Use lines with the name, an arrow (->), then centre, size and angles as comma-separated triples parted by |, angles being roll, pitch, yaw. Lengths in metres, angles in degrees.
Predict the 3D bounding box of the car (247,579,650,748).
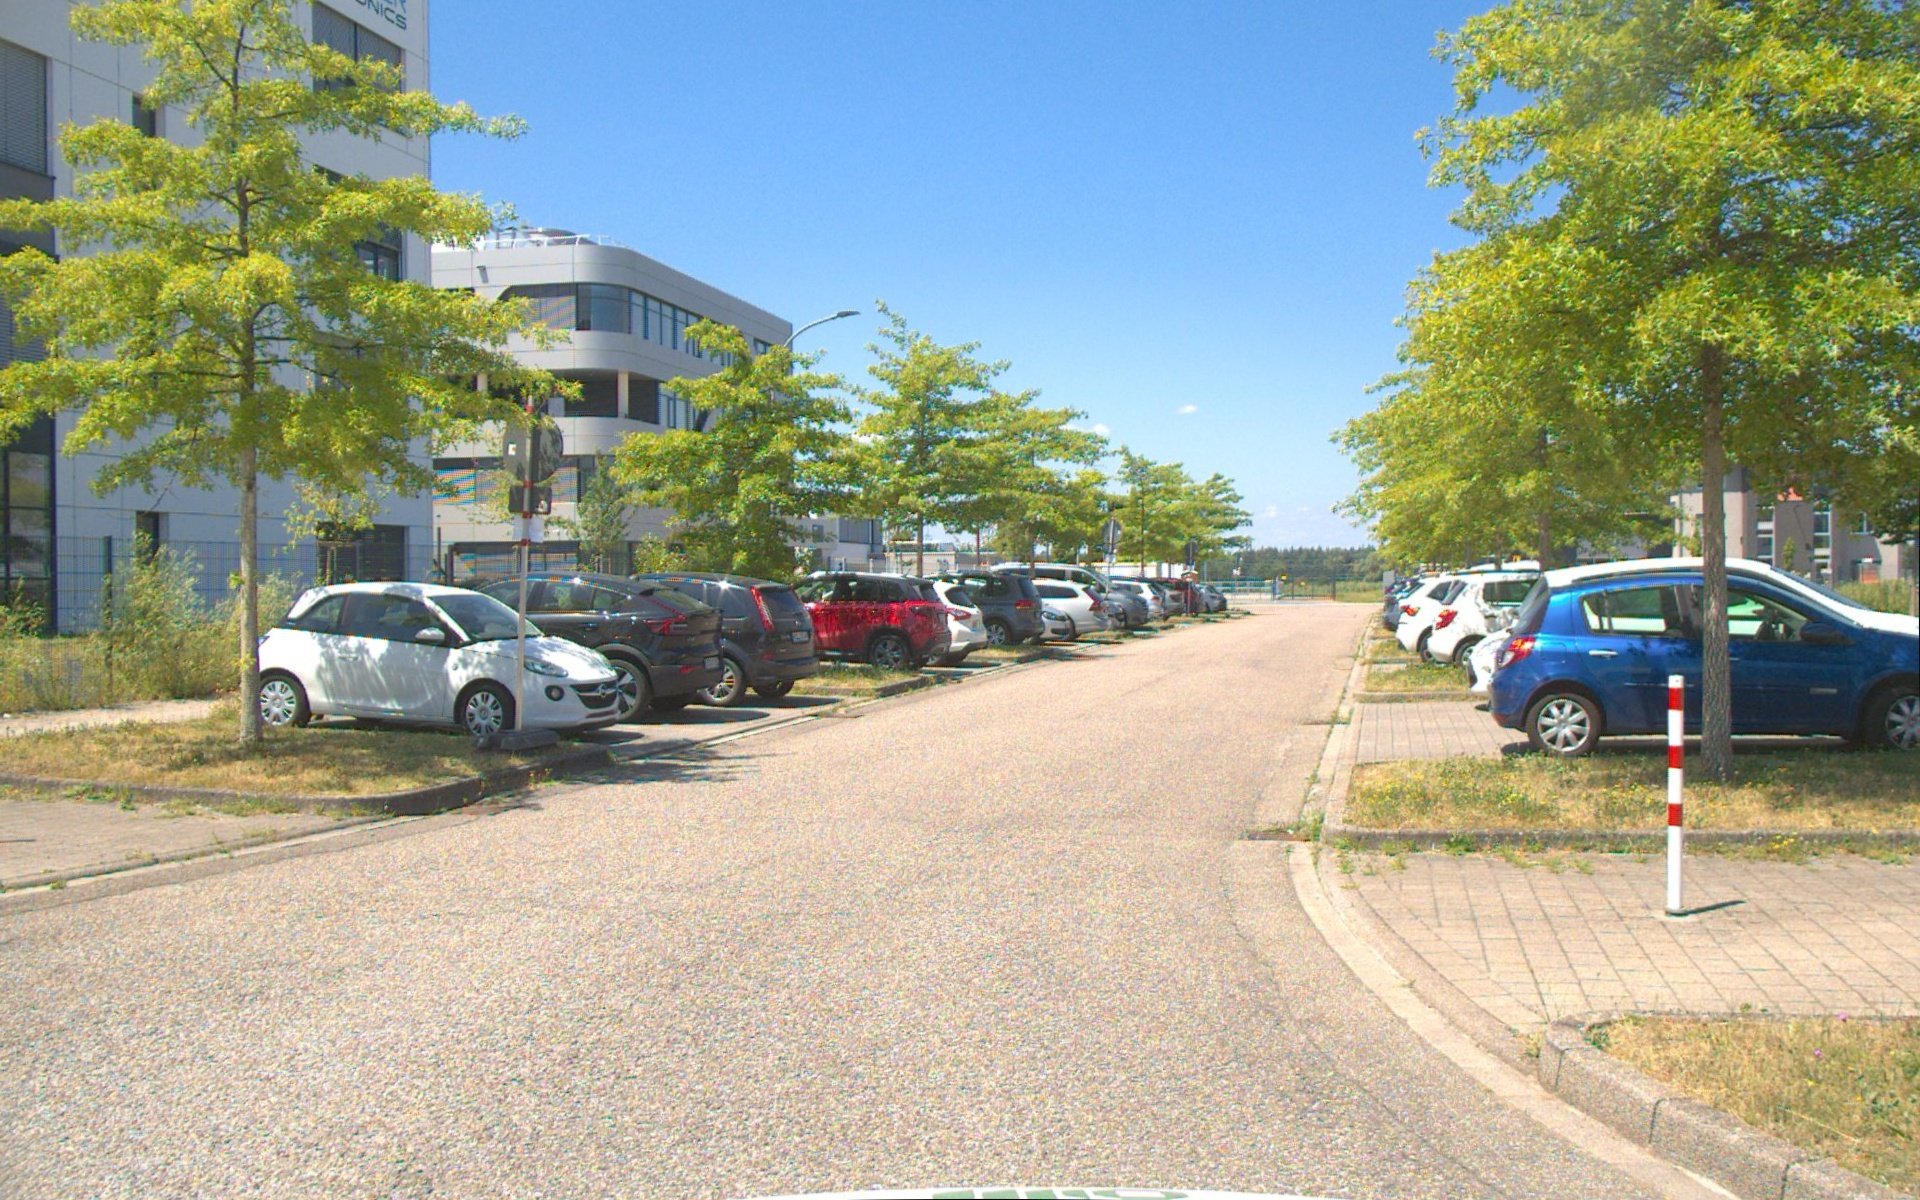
car -> -5.061, 0.574, 16.527 | 3.430, 1.466, 1.729 | 2, 1, 14

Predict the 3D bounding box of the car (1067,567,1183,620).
car -> 5.857, -0.251, 58.510 | 3.902, 1.708, 1.779 | 2, 1, 10

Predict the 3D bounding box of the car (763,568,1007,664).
car -> -1.357, 0.259, 30.286 | 4.084, 1.539, 1.808 | 2, 2, 16

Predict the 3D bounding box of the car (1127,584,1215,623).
car -> 8.924, 0.137, 69.829 | 3.578, 1.535, 1.733 | 1, 1, 11

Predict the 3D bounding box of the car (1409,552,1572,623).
car -> 15.146, -0.340, 47.410 | 4.309, 1.862, 1.797 | -2, 0, 16

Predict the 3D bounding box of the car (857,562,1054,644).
car -> -0.076, 0.042, 36.573 | 4.030, 1.663, 1.729 | 2, 1, 14

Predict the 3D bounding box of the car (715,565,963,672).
car -> -1.993, 0.269, 27.647 | 3.757, 1.619, 1.729 | 2, 1, 12

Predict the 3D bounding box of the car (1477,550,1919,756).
car -> 6.470, 0.431, 13.983 | 3.912, 1.516, 1.728 | -3, 0, 19

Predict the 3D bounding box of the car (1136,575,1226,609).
car -> 10.237, -0.360, 76.505 | 3.988, 1.449, 1.875 | 2, 1, 11

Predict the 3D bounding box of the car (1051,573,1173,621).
car -> 5.186, -0.112, 56.281 | 3.951, 1.486, 1.606 | 2, 1, 12

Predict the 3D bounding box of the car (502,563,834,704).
car -> -3.726, 0.380, 21.329 | 3.823, 1.619, 1.729 | 2, 1, 14

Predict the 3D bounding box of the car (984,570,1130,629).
car -> 2.819, -0.030, 47.610 | 3.885, 1.510, 1.765 | 2, 1, 15

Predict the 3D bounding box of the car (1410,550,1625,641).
car -> 11.141, -0.075, 33.304 | 3.961, 1.653, 1.694 | -2, 0, 15

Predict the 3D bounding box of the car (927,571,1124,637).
car -> 1.645, 0.081, 41.022 | 4.612, 1.472, 1.859 | 2, 1, 12

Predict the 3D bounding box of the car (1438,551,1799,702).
car -> 7.440, 0.291, 18.985 | 3.540, 1.488, 1.612 | -3, 0, 10

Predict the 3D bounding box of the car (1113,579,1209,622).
car -> 8.192, 0.017, 67.315 | 3.658, 1.649, 1.818 | 2, 1, 15

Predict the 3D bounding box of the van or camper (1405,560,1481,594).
van or camper -> 32.263, -1.514, 110.600 | 4.831, 2.201, 2.002 | 0, 1, 14

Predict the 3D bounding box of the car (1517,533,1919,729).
car -> 7.611, 0.289, 16.145 | 4.024, 1.679, 1.775 | -3, 0, 20

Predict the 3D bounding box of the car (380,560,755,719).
car -> -4.463, 0.407, 19.046 | 3.756, 1.621, 1.831 | 2, 1, 11

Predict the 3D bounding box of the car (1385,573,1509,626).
car -> 17.253, -0.022, 58.732 | 4.084, 1.726, 1.784 | -2, 0, 14

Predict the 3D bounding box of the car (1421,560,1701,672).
car -> 8.867, 0.241, 24.700 | 3.753, 1.551, 1.781 | -1, 0, 15

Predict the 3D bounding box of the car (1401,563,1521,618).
car -> 16.912, -0.330, 56.020 | 3.793, 1.707, 1.783 | -2, 0, 15

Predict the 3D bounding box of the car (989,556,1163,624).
car -> 3.535, -0.311, 50.312 | 4.962, 1.924, 1.998 | 1, 1, 16

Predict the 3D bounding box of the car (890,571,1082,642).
car -> 0.628, 0.135, 38.697 | 4.219, 1.499, 1.729 | 2, 1, 12

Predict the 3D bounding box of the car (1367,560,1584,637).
car -> 12.000, -0.029, 38.769 | 4.615, 1.588, 1.915 | -2, 0, 11

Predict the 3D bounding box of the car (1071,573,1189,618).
car -> 6.297, -0.182, 61.248 | 4.104, 1.506, 1.714 | 2, 1, 15

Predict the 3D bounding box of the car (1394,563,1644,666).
car -> 9.162, 0.230, 27.190 | 3.755, 1.580, 1.780 | -1, 1, 20
